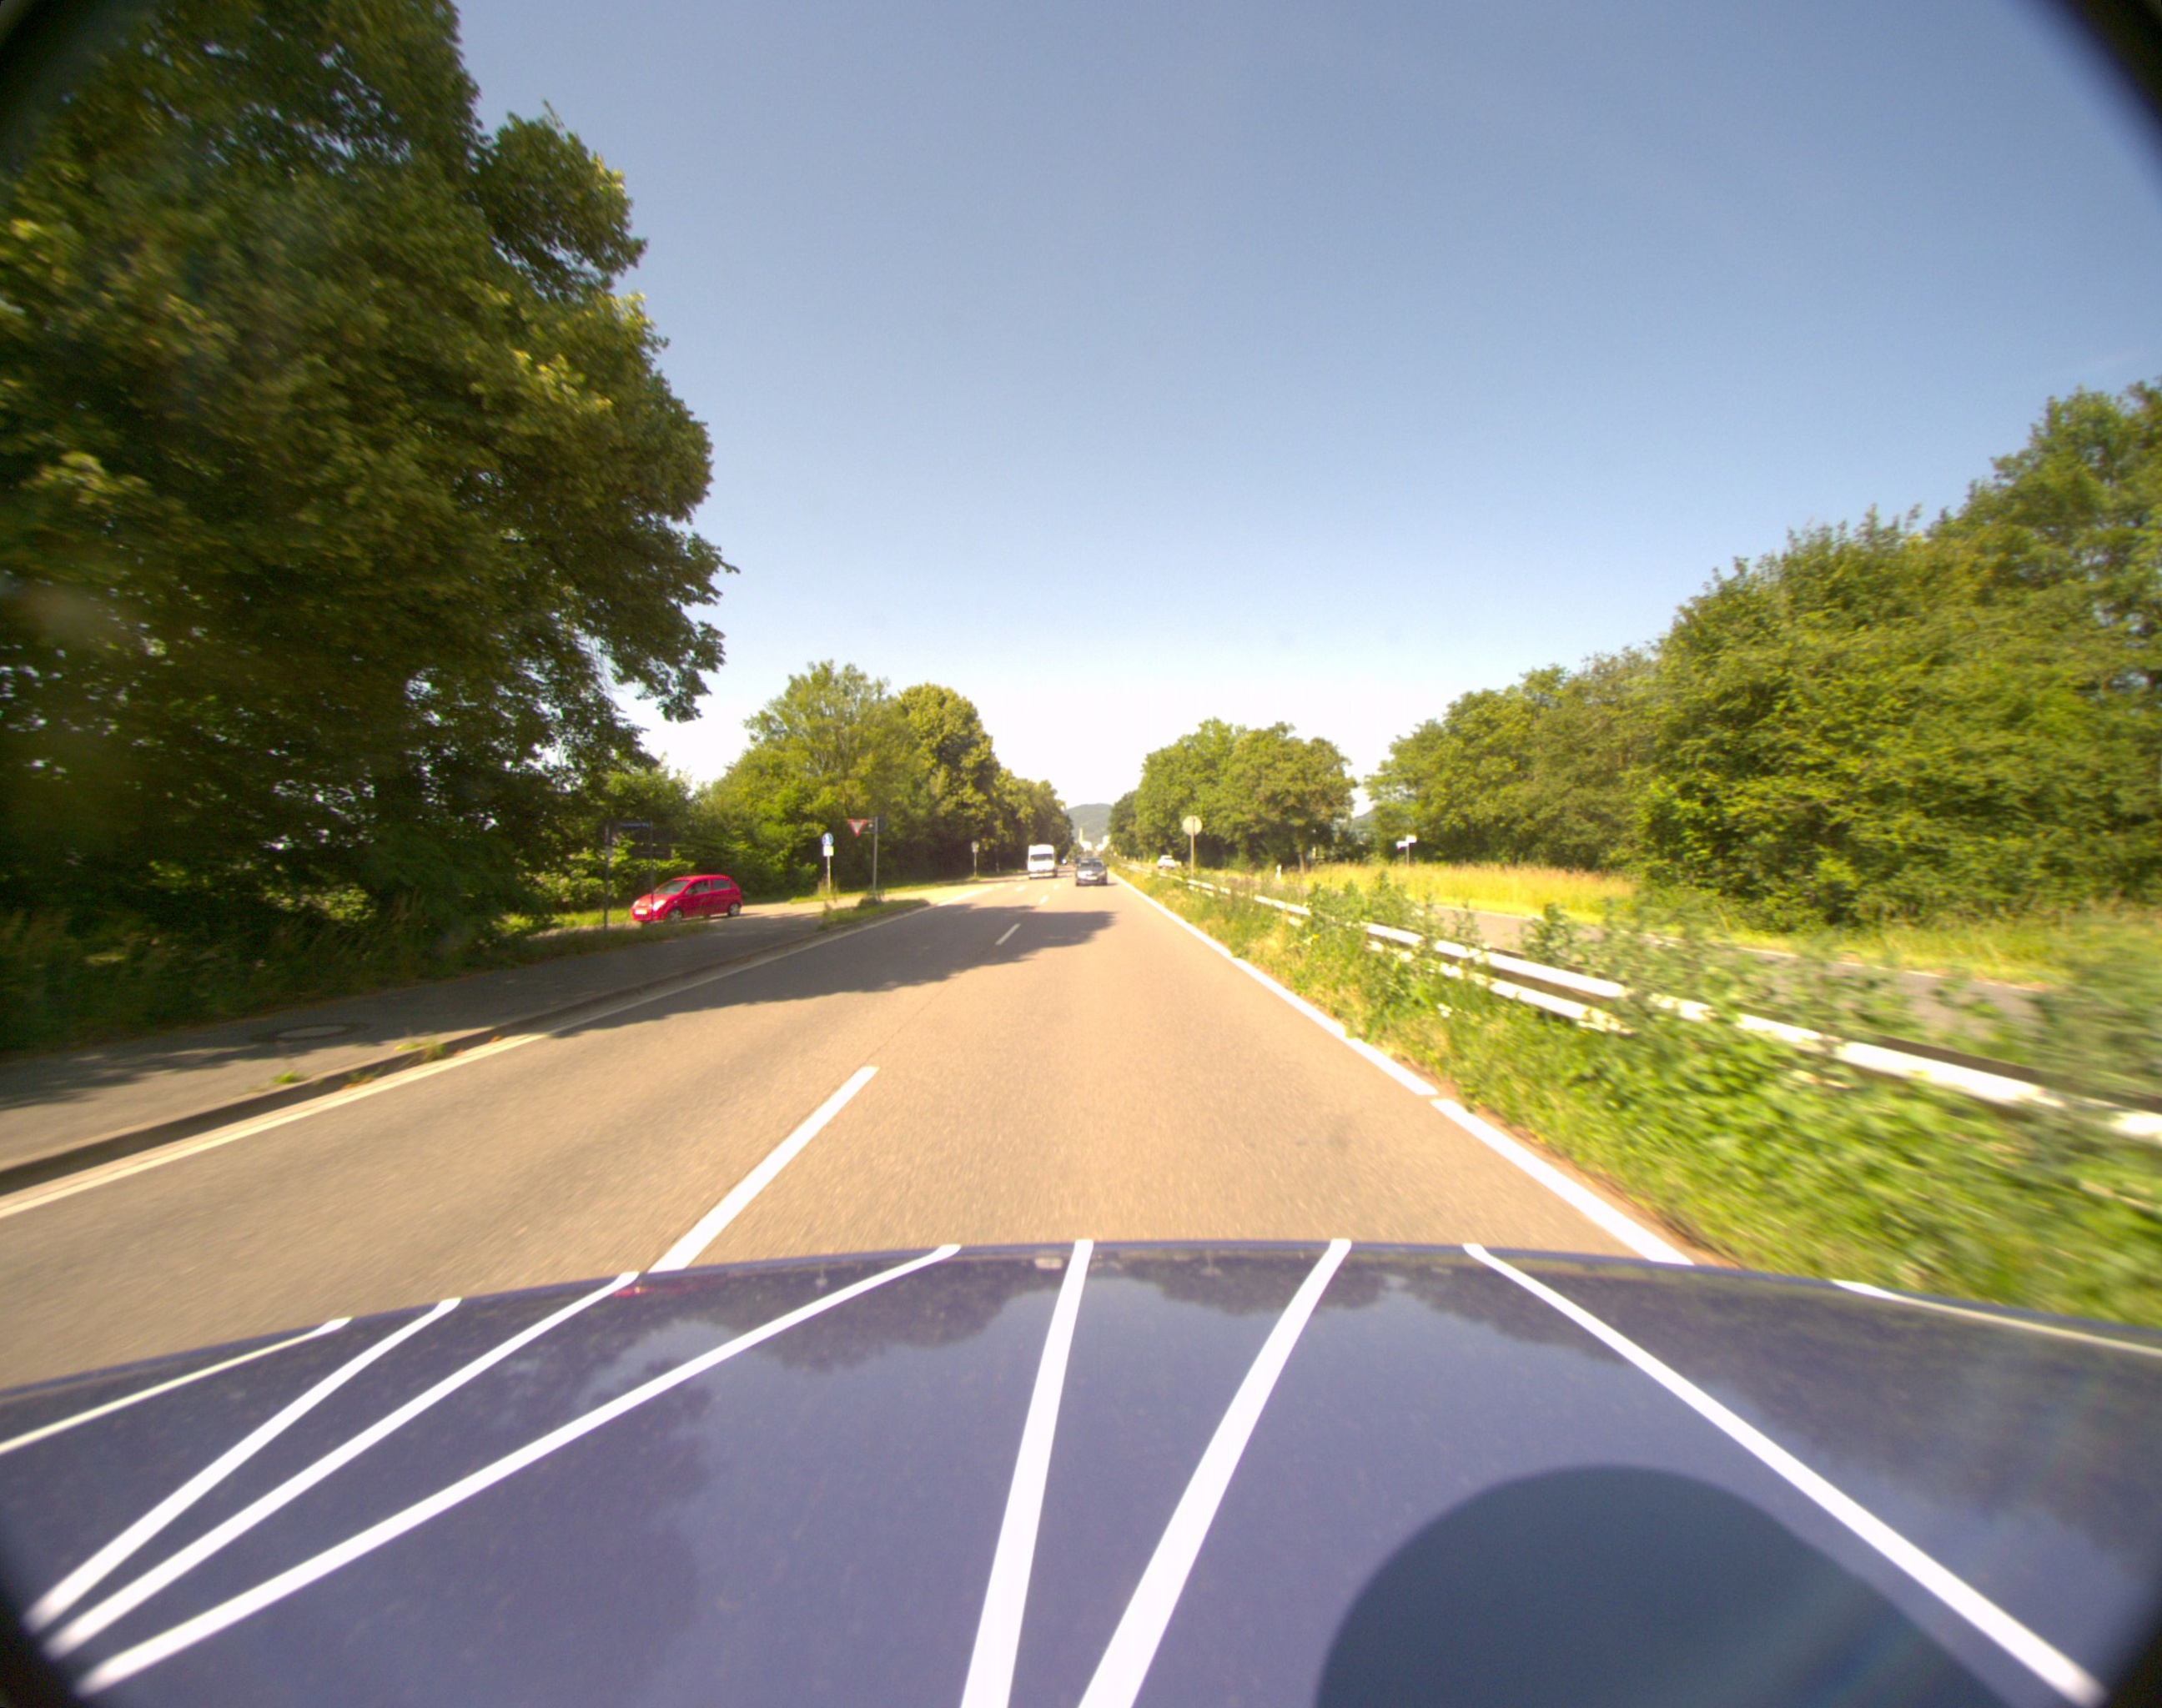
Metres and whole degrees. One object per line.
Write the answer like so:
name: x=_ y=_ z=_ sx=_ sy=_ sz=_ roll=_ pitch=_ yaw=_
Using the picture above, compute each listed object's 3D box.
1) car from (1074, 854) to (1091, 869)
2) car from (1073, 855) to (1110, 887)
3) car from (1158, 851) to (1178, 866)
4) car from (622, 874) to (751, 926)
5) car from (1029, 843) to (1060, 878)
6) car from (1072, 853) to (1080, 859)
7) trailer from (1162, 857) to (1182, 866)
car: x=0.162 y=0.787 z=82.344 sx=1.678 sy=1.435 sz=3.621 roll=-2 pitch=1 yaw=1
car: x=0.548 y=0.820 z=37.818 sx=1.678 sy=1.434 sz=4.362 roll=-2 pitch=0 yaw=1
car: x=11.038 y=0.543 z=96.531 sx=1.998 sy=1.690 sz=4.813 roll=2 pitch=0 yaw=1
car: x=-13.026 y=1.476 z=25.328 sx=1.547 sy=1.445 sz=3.573 roll=-2 pitch=1 yaw=24
car: x=-2.685 y=0.417 z=57.001 sx=1.998 sy=2.433 sz=5.088 roll=-2 pitch=1 yaw=1
car: x=-1.348 y=0.565 z=201.508 sx=1.825 sy=1.591 sz=4.000 roll=-1 pitch=0 yaw=1
trailer: x=10.896 y=0.915 z=91.331 sx=1.968 sy=0.955 sz=5.598 roll=1 pitch=0 yaw=2
